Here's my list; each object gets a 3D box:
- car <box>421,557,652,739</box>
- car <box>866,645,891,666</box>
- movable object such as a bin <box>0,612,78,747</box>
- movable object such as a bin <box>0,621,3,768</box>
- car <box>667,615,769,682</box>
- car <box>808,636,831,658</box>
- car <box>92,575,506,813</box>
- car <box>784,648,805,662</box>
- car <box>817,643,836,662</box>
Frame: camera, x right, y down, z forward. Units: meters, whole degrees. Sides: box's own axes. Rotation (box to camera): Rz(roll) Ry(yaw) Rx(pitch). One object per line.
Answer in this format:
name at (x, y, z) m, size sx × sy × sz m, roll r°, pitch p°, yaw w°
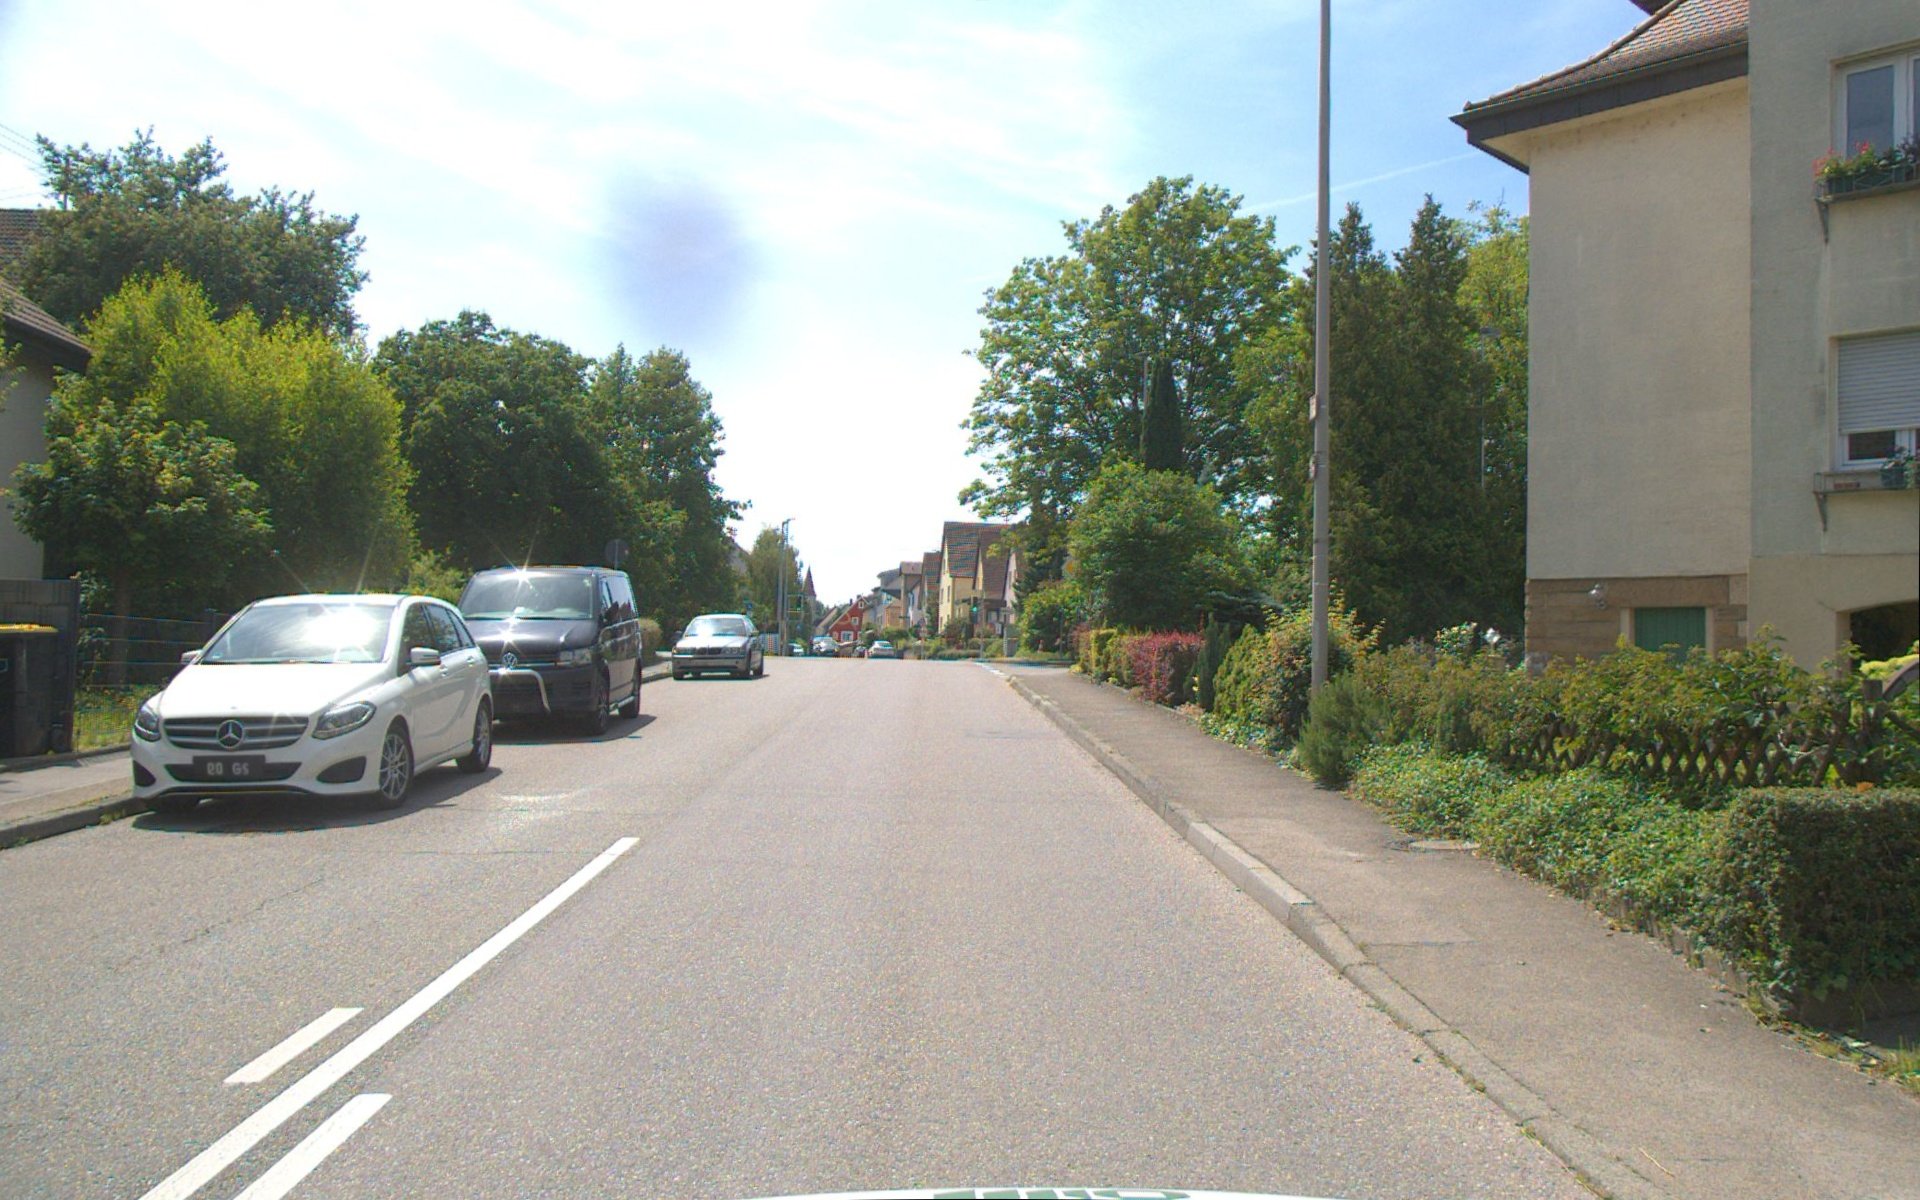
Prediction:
car at (-5.060, 0.538, 20.454) m, size 1.859 × 1.954 × 4.866 m, roll -1°, pitch 0°, yaw -4°
car at (-6.569, 4.507, 134.035) m, size 1.953 × 1.632 × 3.998 m, roll 0°, pitch -1°, yaw -2°
movable object such as a bin at (-7.935, 0.641, 13.694) m, size 0.881 × 1.088 × 0.695 m, roll 0°, pitch -1°, yaw -2°
movable object such as a bin at (-7.589, 0.717, 12.302) m, size 0.486 × 1.124 × 0.710 m, roll -1°, pitch -2°, yaw 5°
car at (-5.413, 1.082, 37.446) m, size 1.744 × 1.419 × 4.407 m, roll 0°, pitch -2°, yaw -1°
car at (-13.181, 4.383, 154.713) m, size 1.844 × 1.999 × 4.893 m, roll 0°, pitch -2°, yaw -8°
car at (-5.005, 0.649, 13.209) m, size 1.775 × 1.577 × 4.240 m, roll 1°, pitch 0°, yaw -3°
car at (-18.523, 6.165, 185.005) m, size 2.068 × 1.588 × 4.310 m, roll 1°, pitch -2°, yaw -3°
car at (-11.603, 4.571, 143.663) m, size 1.505 × 1.569 × 4.298 m, roll 1°, pitch -2°, yaw -6°
